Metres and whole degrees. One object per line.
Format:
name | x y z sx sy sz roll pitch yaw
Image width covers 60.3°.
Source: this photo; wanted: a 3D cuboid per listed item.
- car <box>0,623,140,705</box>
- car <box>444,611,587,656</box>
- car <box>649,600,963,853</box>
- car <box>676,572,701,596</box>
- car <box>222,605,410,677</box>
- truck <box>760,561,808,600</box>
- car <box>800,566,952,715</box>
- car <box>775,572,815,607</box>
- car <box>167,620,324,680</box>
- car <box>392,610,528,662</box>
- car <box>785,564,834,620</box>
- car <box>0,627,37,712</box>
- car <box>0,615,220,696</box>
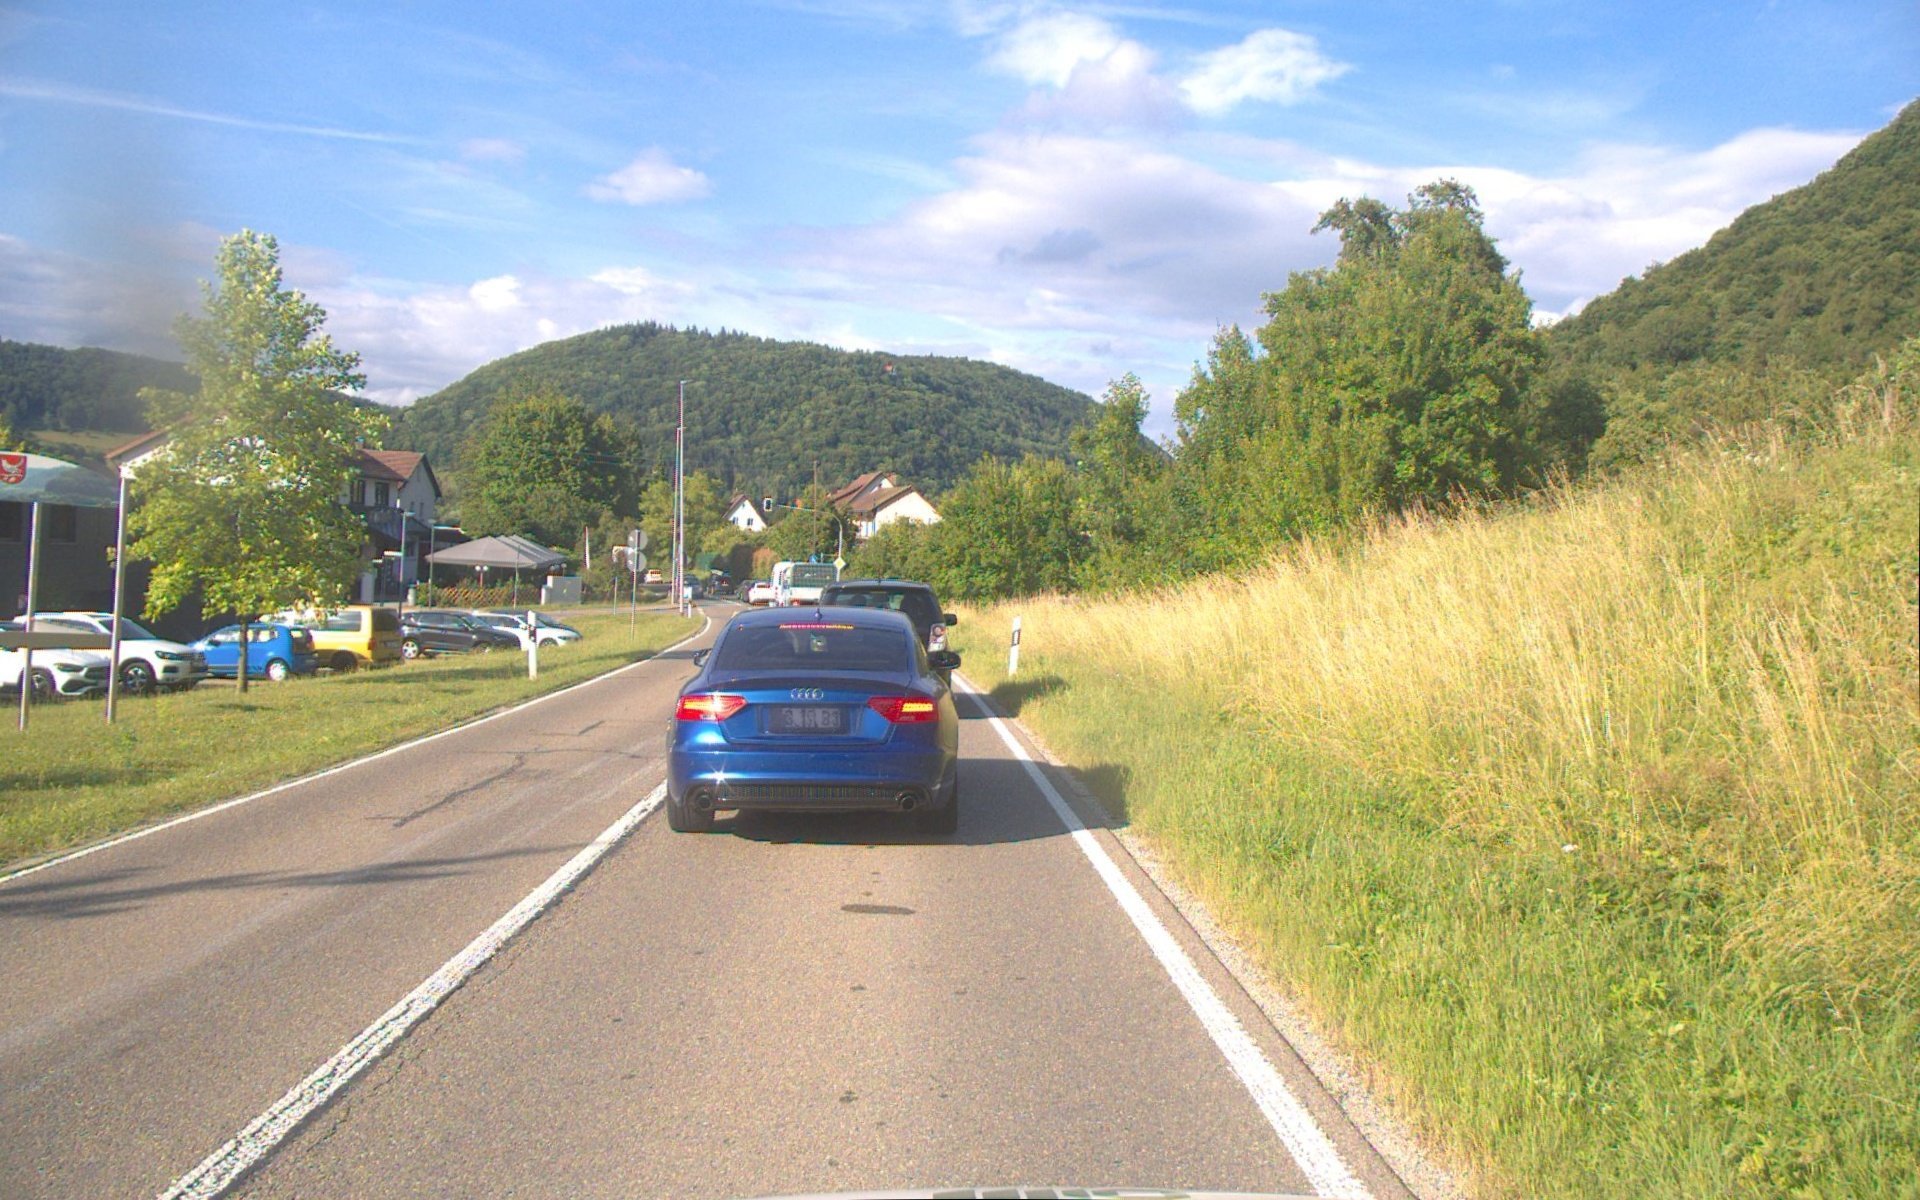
car | -20.002 1.308 34.887 4.442 1.582 2.001 1 0 6
car | -16.394 1.222 61.101 4.711 1.520 1.882 1 0 6
car | -0.890 0.715 11.272 1.759 1.412 3.999 0 0 -1
car | -20.202 -1.180 123.185 1.704 1.691 3.461 1 0 -11
car | -18.084 1.125 46.561 4.512 1.900 2.002 1 0 10
truck | -9.275 -0.987 86.597 1.669 1.988 5.900 1 0 -14
car | -0.984 0.474 20.870 1.710 1.668 3.999 1 0 -1
car | -8.139 -0.513 81.477 1.714 1.668 3.991 1 0 -9
car | -18.939 1.305 43.934 3.420 1.498 1.634 1 0 4
car | -17.057 1.203 56.547 3.939 1.665 2.001 1 0 6
car | -6.314 -0.313 69.052 1.714 2.234 3.991 1 0 -9
car | -20.395 1.287 31.596 4.442 1.582 2.001 1 0 6
car | -19.761 1.251 38.201 4.442 1.733 2.001 1 0 6
